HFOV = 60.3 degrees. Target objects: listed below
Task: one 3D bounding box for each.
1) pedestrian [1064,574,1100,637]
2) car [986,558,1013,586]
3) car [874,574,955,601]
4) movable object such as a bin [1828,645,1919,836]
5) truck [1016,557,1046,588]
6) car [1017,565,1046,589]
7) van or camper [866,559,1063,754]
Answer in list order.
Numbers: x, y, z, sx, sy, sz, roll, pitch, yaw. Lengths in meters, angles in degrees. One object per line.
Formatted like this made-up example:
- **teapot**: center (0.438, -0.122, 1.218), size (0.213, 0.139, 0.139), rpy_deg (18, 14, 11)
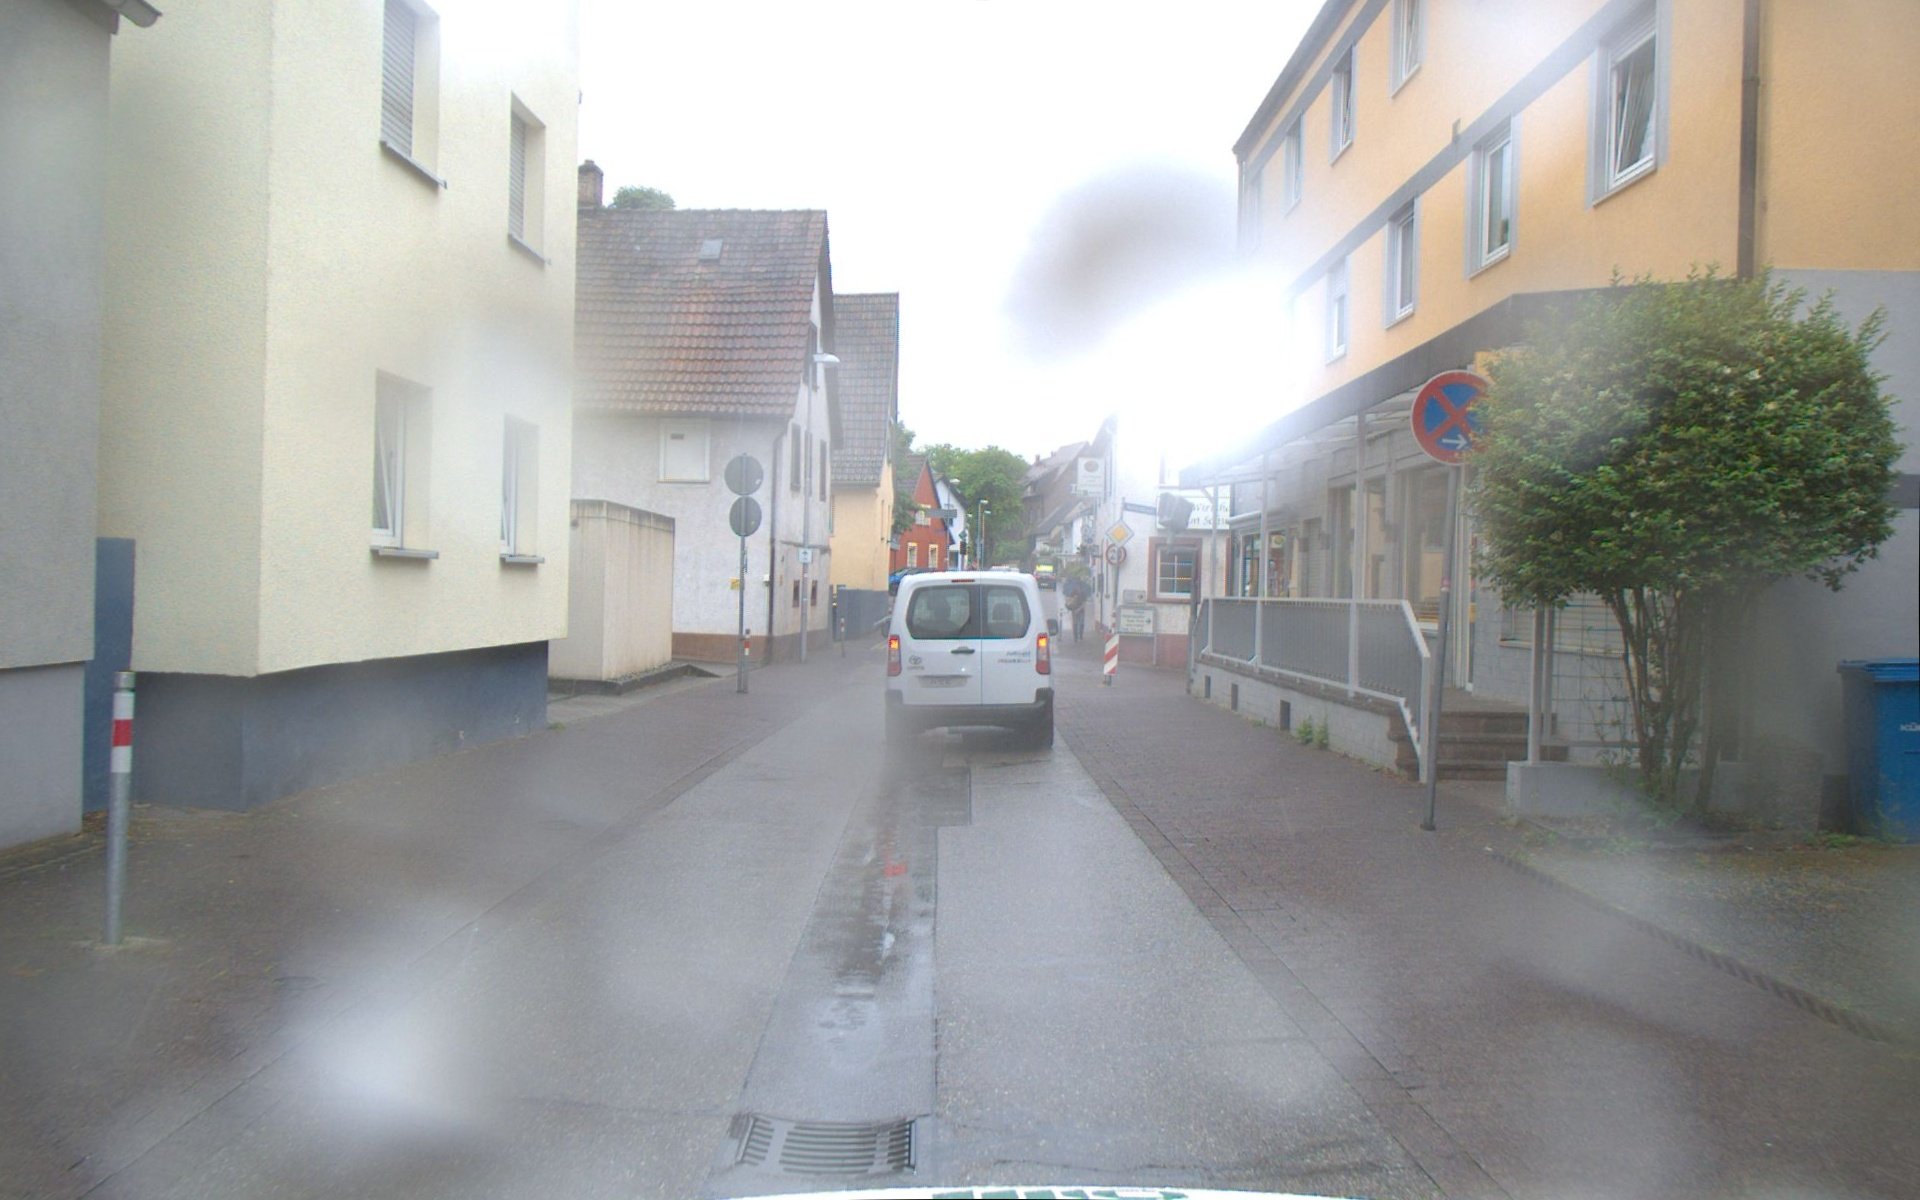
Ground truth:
- **pedestrian**: center (3.562, 0.163, 48.189), size (0.973, 1.766, 0.812), rpy_deg (1, 3, 6)
- **car**: center (2.712, -1.923, 113.357), size (1.774, 1.810, 4.019), rpy_deg (1, 2, 2)
- **car**: center (-2.470, -0.673, 90.060), size (3.952, 1.397, 2.086), rpy_deg (0, 0, -34)
- **movable object such as a bin**: center (5.733, 0.838, 10.103), size (0.498, 1.100, 0.740), rpy_deg (0, 0, 3)
- **truck**: center (5.809, -2.256, 135.447), size (2.302, 2.468, 4.950), rpy_deg (1, 1, 1)
- **car**: center (5.245, -1.685, 121.715), size (1.952, 1.777, 4.001), rpy_deg (1, 1, 1)
- **van or camper**: center (0.051, 0.562, 18.376), size (1.903, 1.883, 4.000), rpy_deg (2, 0, 0)
